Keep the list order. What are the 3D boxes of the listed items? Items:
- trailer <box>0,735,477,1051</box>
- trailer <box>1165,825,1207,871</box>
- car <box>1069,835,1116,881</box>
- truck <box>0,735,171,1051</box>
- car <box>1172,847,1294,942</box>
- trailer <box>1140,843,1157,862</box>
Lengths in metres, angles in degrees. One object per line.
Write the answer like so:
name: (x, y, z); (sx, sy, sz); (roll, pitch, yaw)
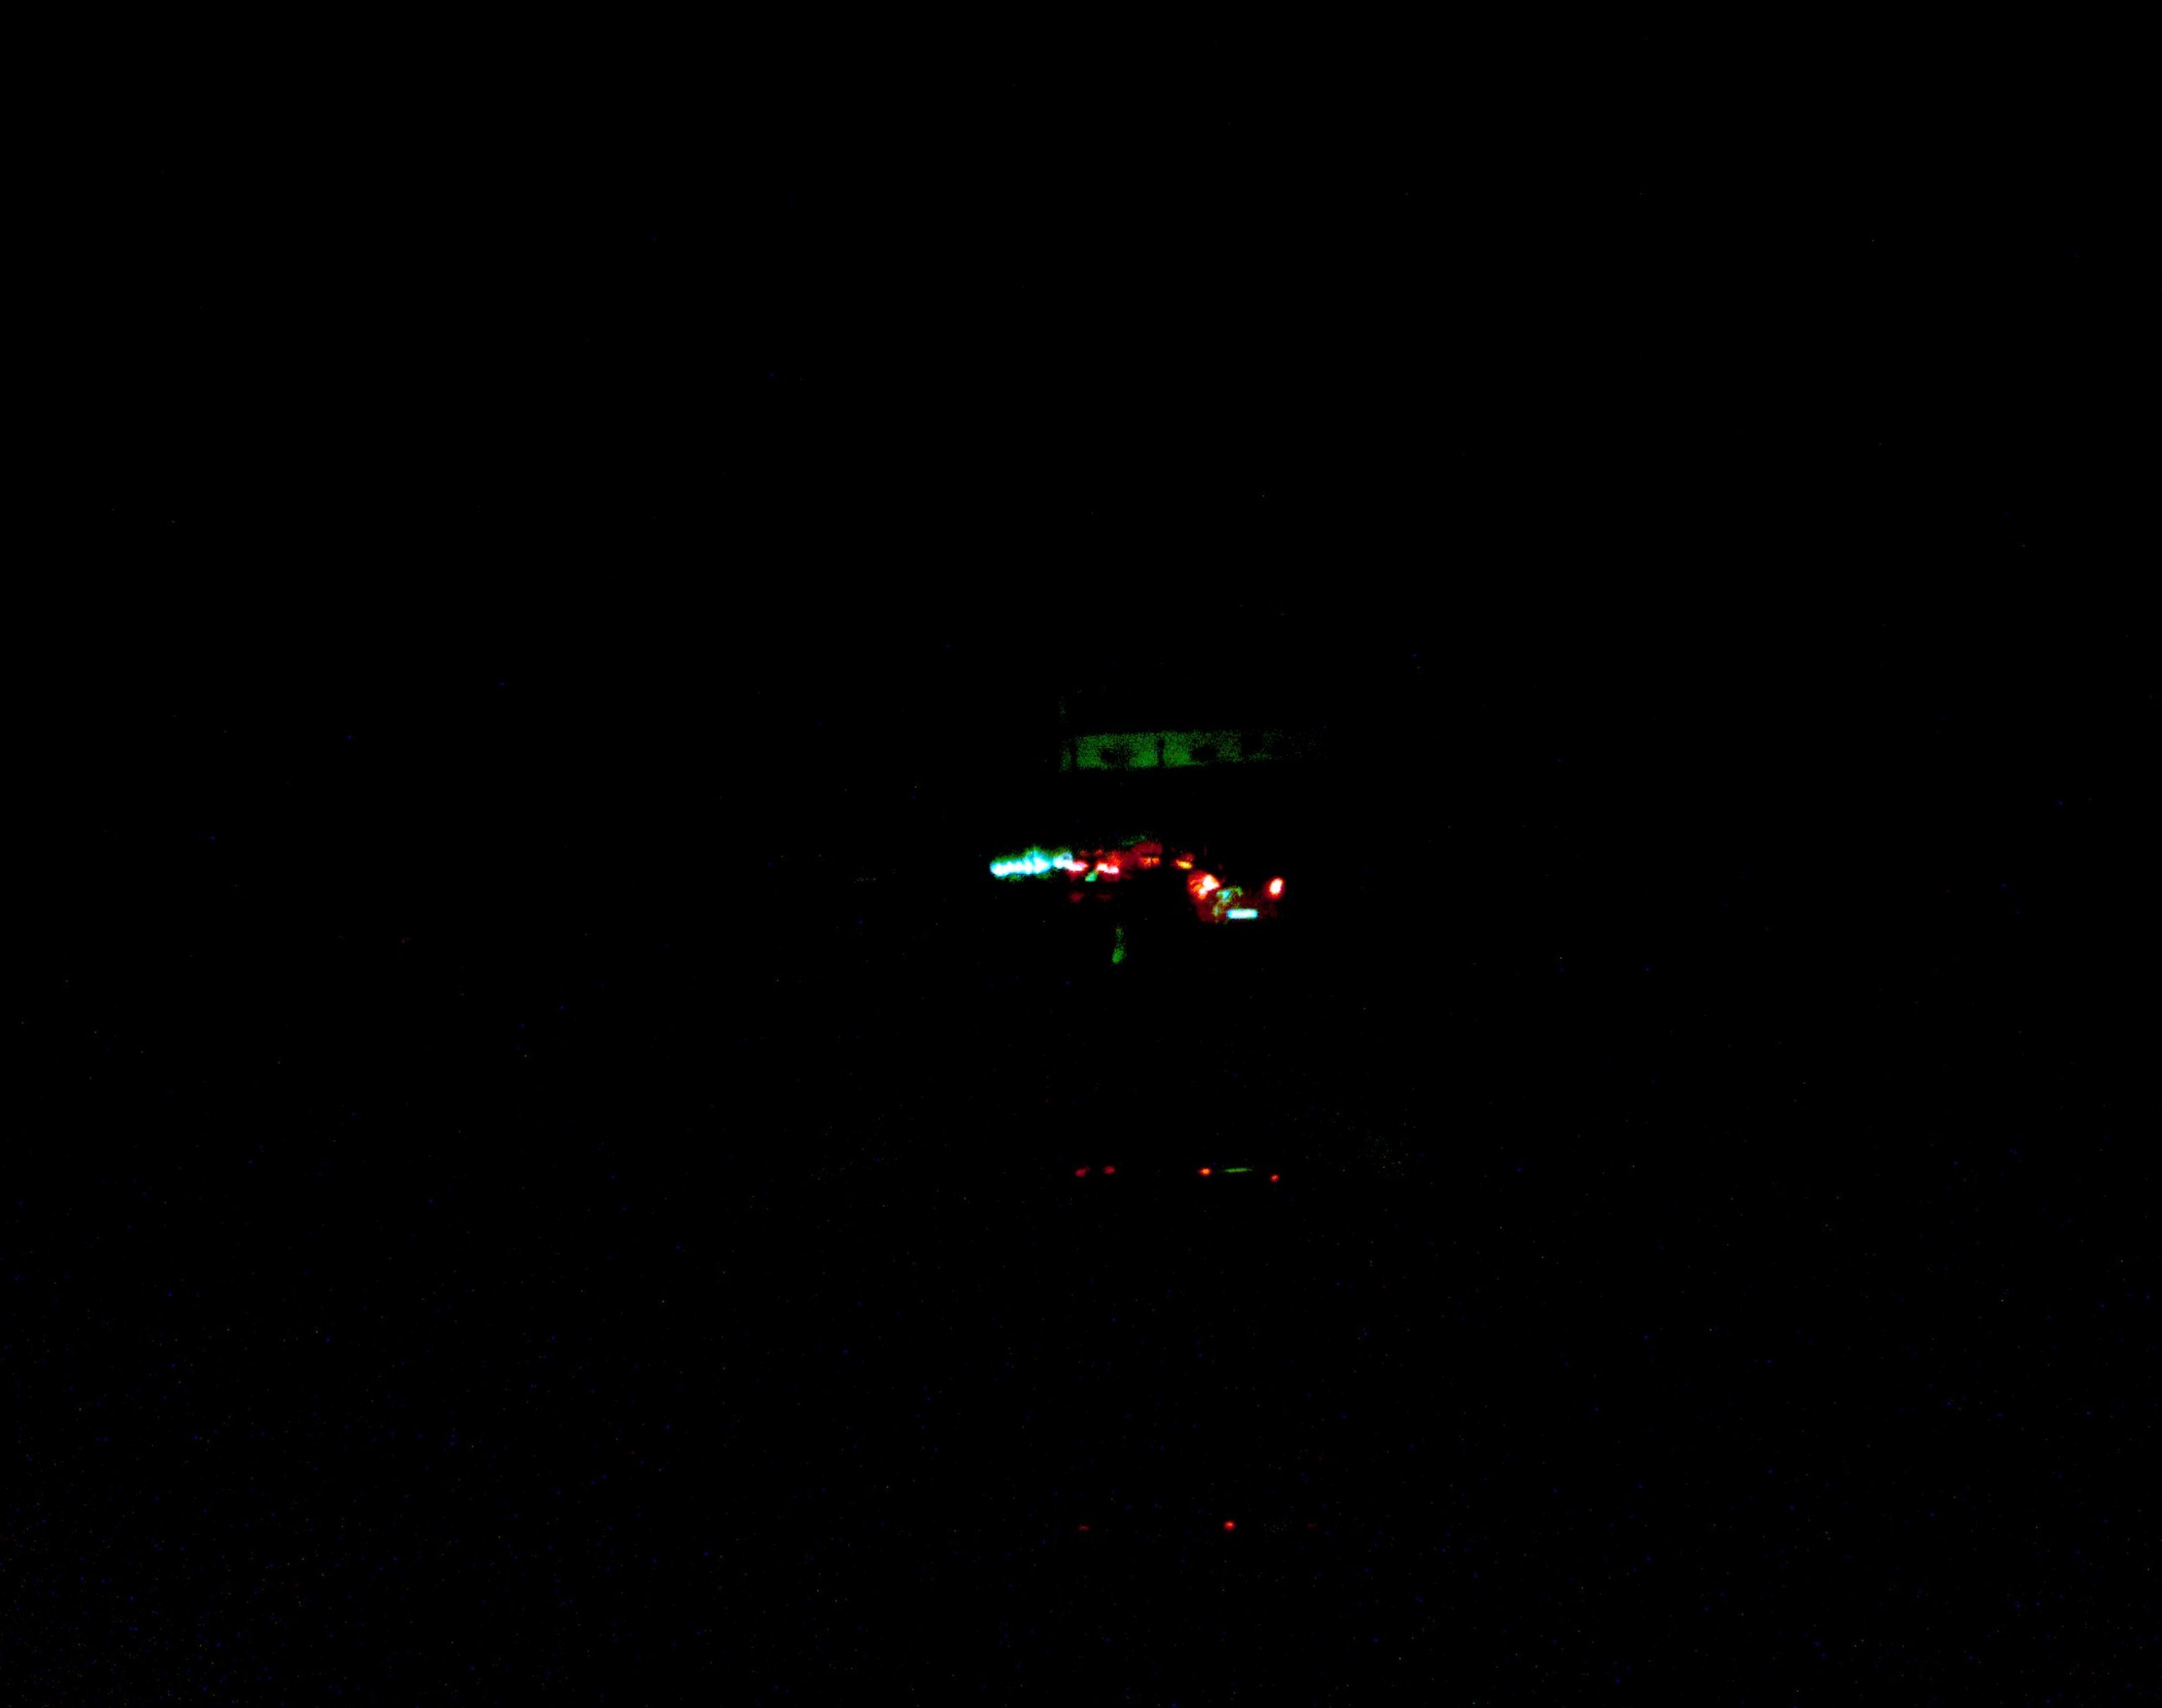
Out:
trailer: (-17.522, 0.570, 16.693); (2.396, 4.823, 10.175); (0, 0, 2)
trailer: (10.464, -0.393, 82.449); (2.891, 4.109, 14.497); (-3, -1, 3)
car: (0.590, 0.138, 38.073); (1.985, 2.013, 4.003); (-1, 1, 3)
truck: (-17.691, 0.591, 11.992); (2.417, 4.811, 5.390); (0, 0, 2)
car: (2.845, 0.743, 16.149); (1.733, 1.575, 4.496); (-1, -2, 3)
trailer: (16.464, -0.362, 199.047); (3.030, 4.109, 13.831); (-3, -2, 2)
